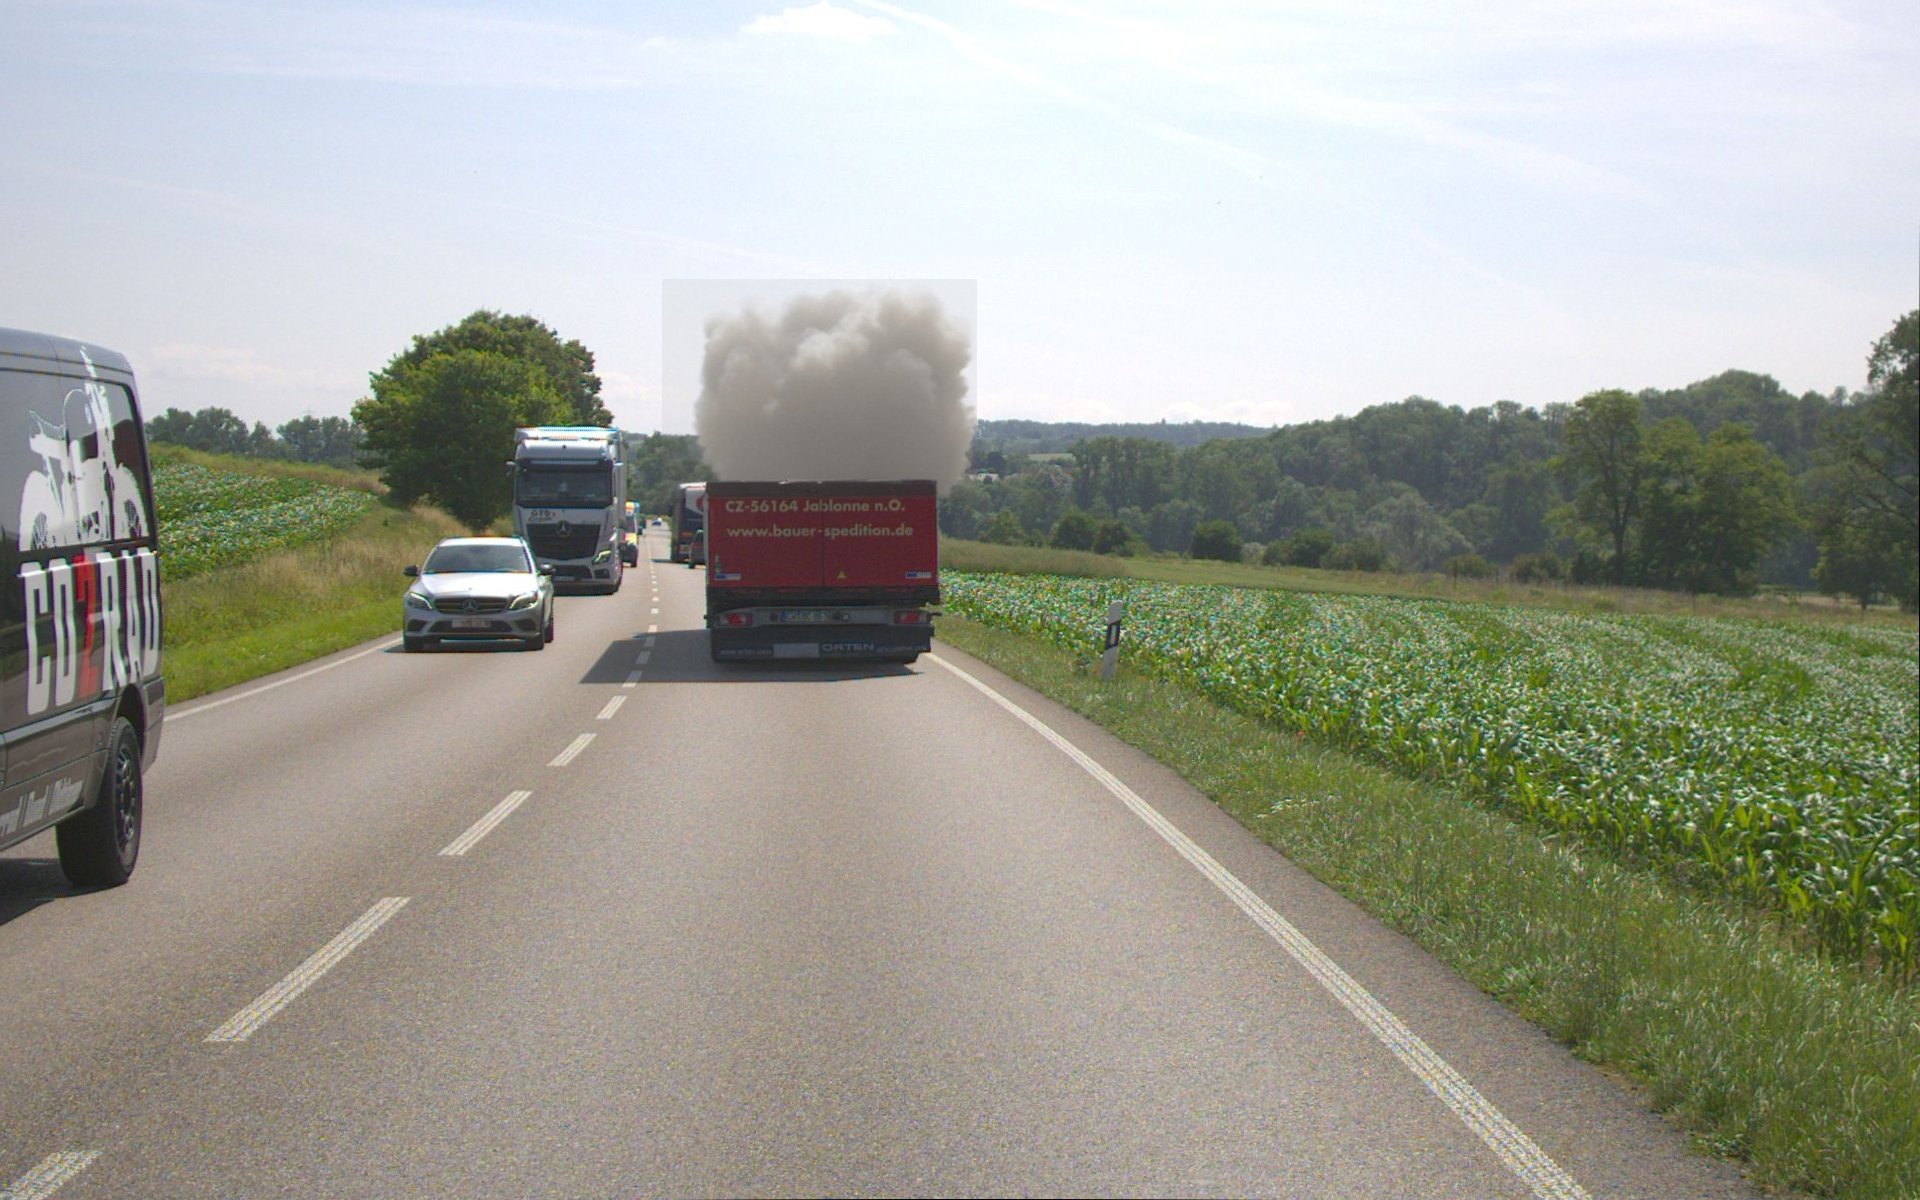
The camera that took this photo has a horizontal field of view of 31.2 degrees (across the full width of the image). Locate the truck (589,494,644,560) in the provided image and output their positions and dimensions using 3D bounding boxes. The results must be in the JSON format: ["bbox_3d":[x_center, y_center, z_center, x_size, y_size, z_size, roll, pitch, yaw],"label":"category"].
[{"bbox_3d":[-14.151,-3.006,141.970,2.207,2.662,6.418,0,1,-5],"label":"truck"}]

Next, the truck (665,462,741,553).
[{"bbox_3d":[-12.939,-4.614,173.762,3.640,4.277,11.987,0,0,-3],"label":"truck"}]

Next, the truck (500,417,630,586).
[{"bbox_3d":[-10.154,-2.502,89.741,2.826,3.979,16.536,0,1,-5],"label":"truck"}]

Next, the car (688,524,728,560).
[{"bbox_3d":[-10.639,-2.443,145.258,1.581,1.496,3.877,1,1,-3],"label":"car"}]

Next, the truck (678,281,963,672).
[{"bbox_3d":[-1.766,-1.375,41.633,3.094,4.248,8.315,0,0,-3],"label":"truck"}]

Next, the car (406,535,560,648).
[{"bbox_3d":[-6.358,-0.147,46.171,1.728,1.435,4.177,0,1,-3],"label":"car"}]

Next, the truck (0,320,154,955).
[{"bbox_3d":[-4.504,0.126,12.740,2.009,2.312,5.192,0,1,-2],"label":"truck"}]
